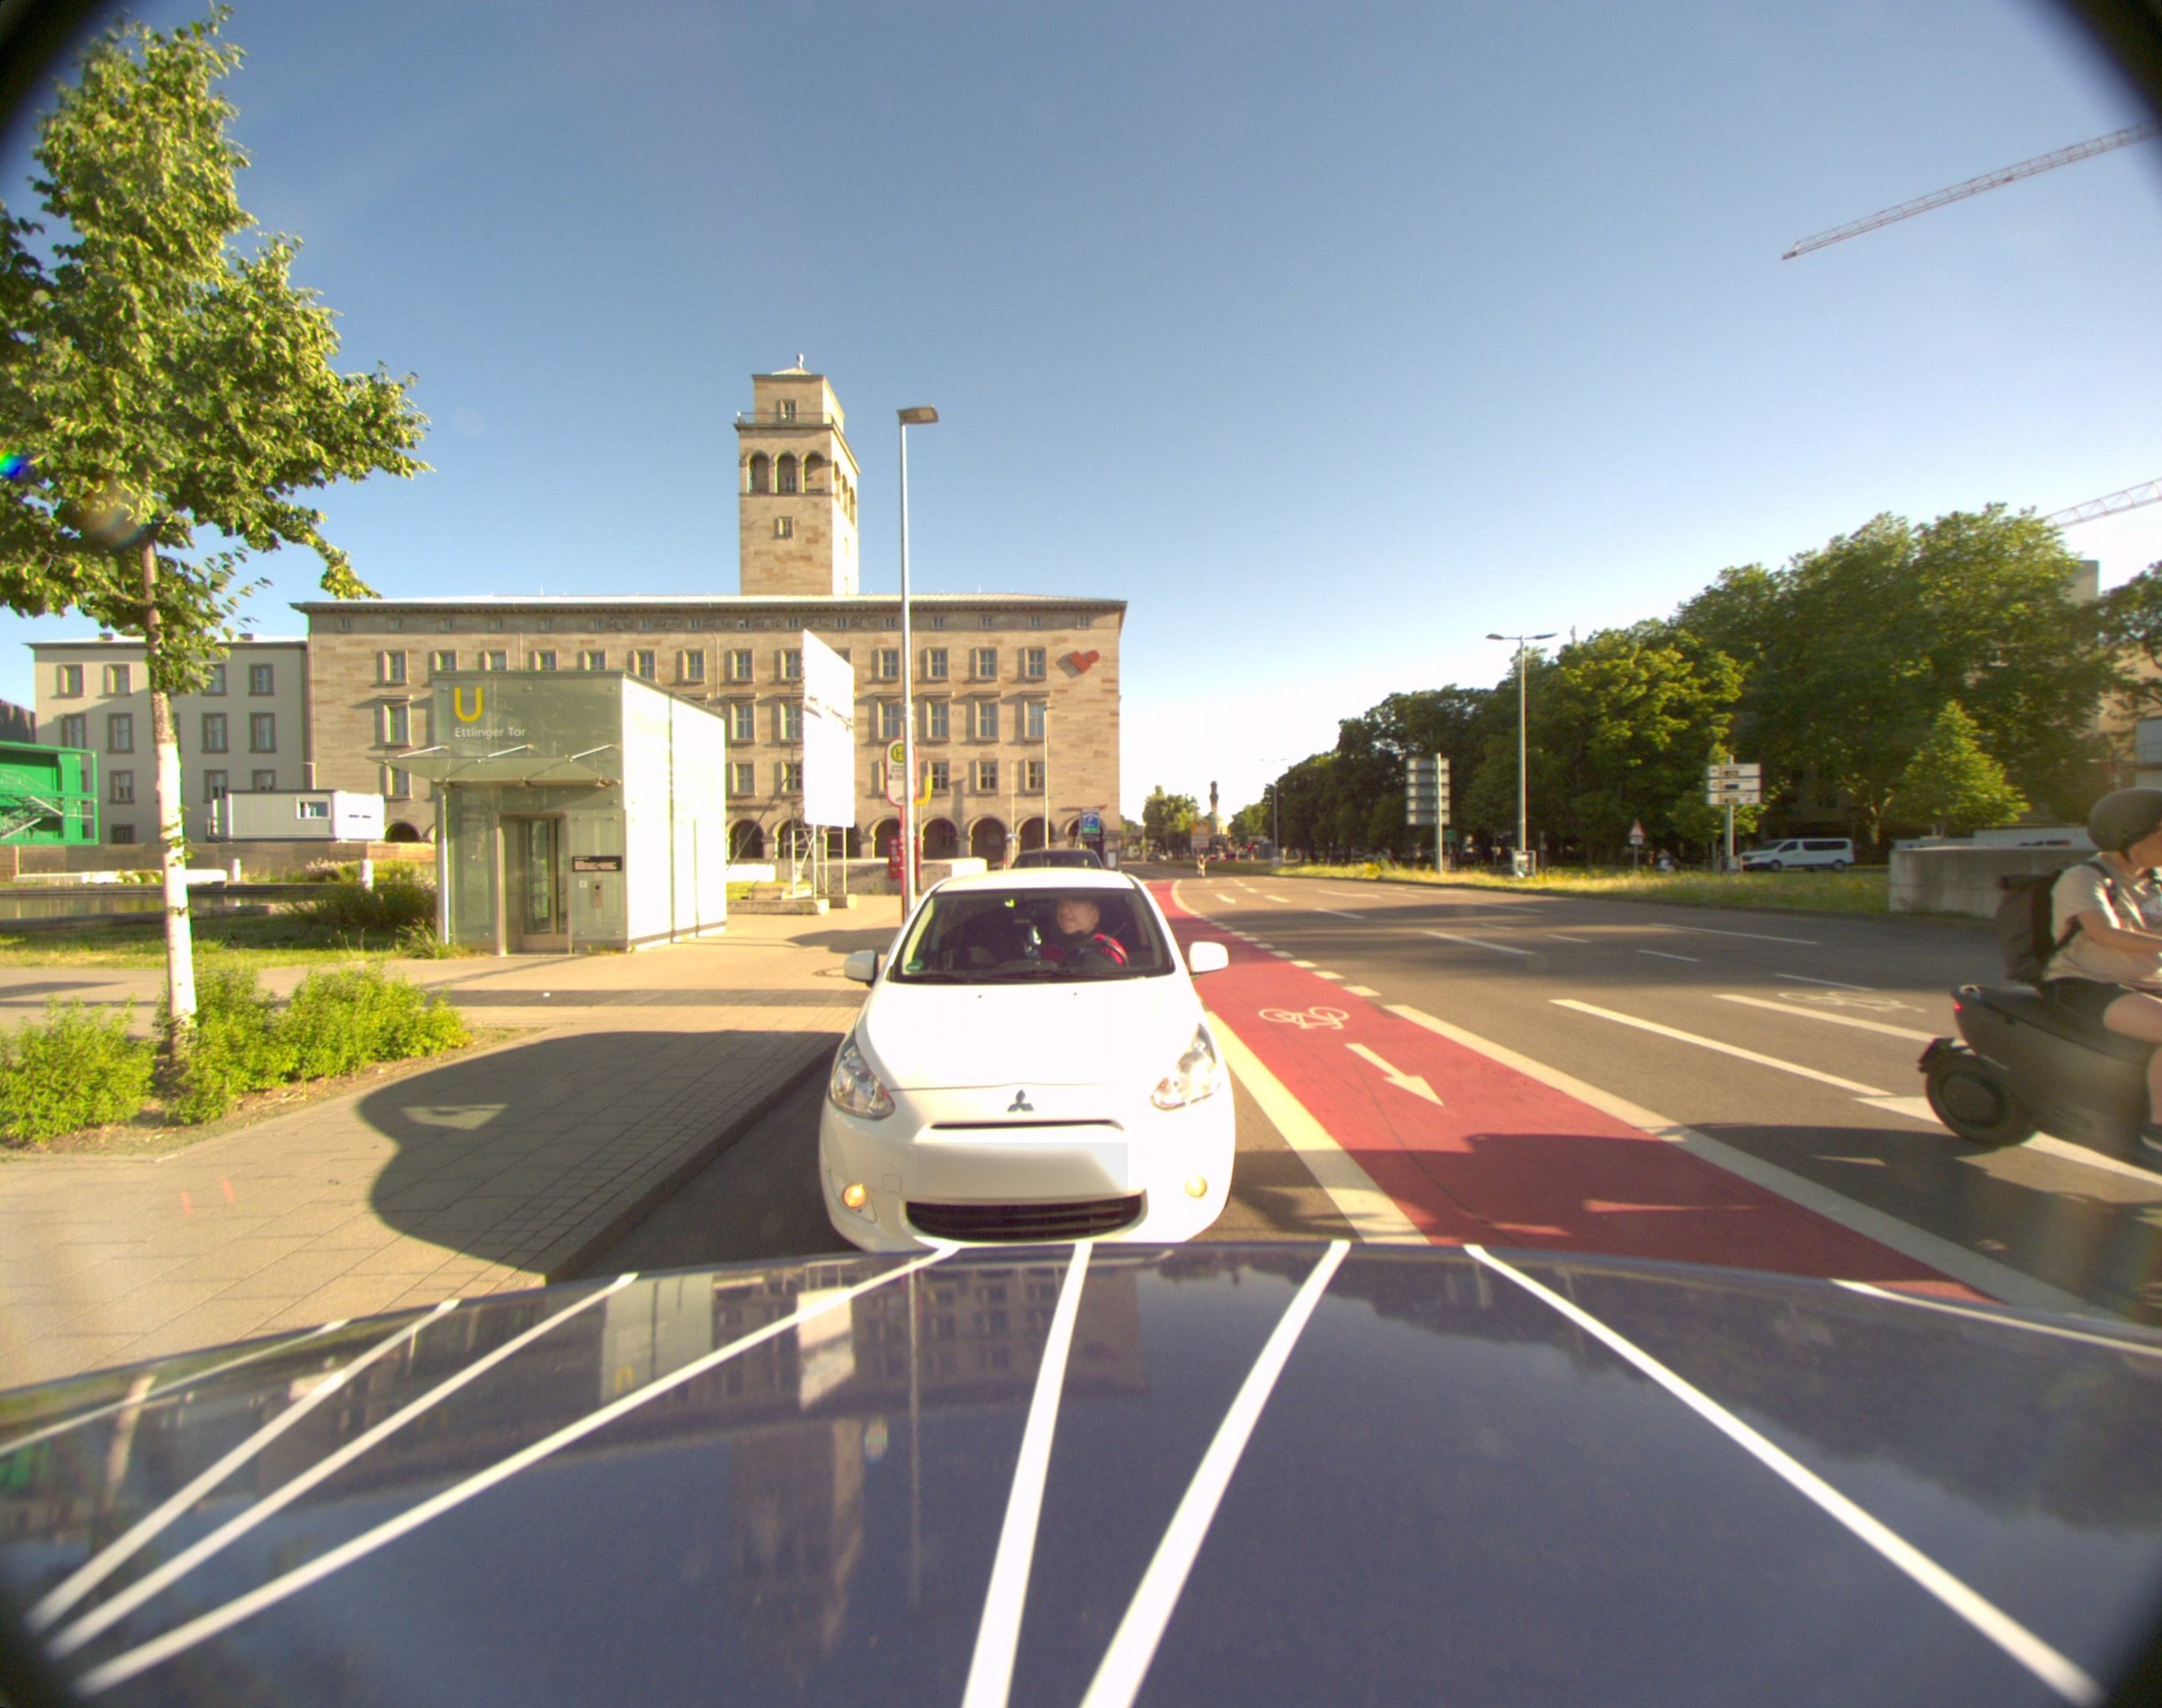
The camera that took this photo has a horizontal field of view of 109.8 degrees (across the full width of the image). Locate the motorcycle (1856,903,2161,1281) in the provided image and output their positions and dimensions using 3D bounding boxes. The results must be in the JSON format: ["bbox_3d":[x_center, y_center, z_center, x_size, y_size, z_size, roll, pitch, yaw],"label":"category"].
[{"bbox_3d":[4.278,0.901,2.889,0.724,1.286,1.884,-2,0,1],"label":"motorcycle"}]

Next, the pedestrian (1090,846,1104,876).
[{"bbox_3d":[1.403,0.617,65.957,1.122,2.524,1.055,-2,1,1],"label":"pedestrian"}]

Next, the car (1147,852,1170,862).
[{"bbox_3d":[15.152,0.524,148.938,1.881,1.827,4.574,-3,1,-33],"label":"car"}]

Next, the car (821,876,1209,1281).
[{"bbox_3d":[-0.239,0.955,4.842,1.496,1.477,3.604,-2,0,1],"label":"car"}]

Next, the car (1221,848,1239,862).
[{"bbox_3d":[21.581,0.125,110.265,1.819,1.817,3.999,-2,1,1],"label":"car"}]

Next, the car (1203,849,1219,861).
[{"bbox_3d":[20.573,0.122,120.445,1.747,1.778,3.947,-2,1,1],"label":"car"}]

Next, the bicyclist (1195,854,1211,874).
[{"bbox_3d":[8.091,0.658,50.450,0.854,1.340,0.829,-2,1,1],"label":"bicyclist"}]

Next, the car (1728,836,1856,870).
[{"bbox_3d":[42.125,-0.045,45.116,5.516,1.924,2.065,-1,1,2],"label":"car"}]

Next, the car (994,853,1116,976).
[{"bbox_3d":[-0.379,0.841,12.522,1.642,1.653,3.849,-2,0,-1],"label":"car"}]

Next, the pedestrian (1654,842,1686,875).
[{"bbox_3d":[33.757,0.229,43.543,0.989,1.821,1.019,-2,1,-3],"label":"pedestrian"}]

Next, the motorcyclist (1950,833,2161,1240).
[{"bbox_3d":[4.270,0.657,2.942,0.727,1.466,0.917,-2,0,1],"label":"motorcyclist"}]

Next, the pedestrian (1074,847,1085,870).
[{"bbox_3d":[-0.151,0.473,83.893,1.122,2.524,1.055,-2,1,1],"label":"pedestrian"}]

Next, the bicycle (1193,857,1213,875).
[{"bbox_3d":[8.095,0.754,50.442,0.854,1.109,2.808,-2,0,1],"label":"bicycle"}]
